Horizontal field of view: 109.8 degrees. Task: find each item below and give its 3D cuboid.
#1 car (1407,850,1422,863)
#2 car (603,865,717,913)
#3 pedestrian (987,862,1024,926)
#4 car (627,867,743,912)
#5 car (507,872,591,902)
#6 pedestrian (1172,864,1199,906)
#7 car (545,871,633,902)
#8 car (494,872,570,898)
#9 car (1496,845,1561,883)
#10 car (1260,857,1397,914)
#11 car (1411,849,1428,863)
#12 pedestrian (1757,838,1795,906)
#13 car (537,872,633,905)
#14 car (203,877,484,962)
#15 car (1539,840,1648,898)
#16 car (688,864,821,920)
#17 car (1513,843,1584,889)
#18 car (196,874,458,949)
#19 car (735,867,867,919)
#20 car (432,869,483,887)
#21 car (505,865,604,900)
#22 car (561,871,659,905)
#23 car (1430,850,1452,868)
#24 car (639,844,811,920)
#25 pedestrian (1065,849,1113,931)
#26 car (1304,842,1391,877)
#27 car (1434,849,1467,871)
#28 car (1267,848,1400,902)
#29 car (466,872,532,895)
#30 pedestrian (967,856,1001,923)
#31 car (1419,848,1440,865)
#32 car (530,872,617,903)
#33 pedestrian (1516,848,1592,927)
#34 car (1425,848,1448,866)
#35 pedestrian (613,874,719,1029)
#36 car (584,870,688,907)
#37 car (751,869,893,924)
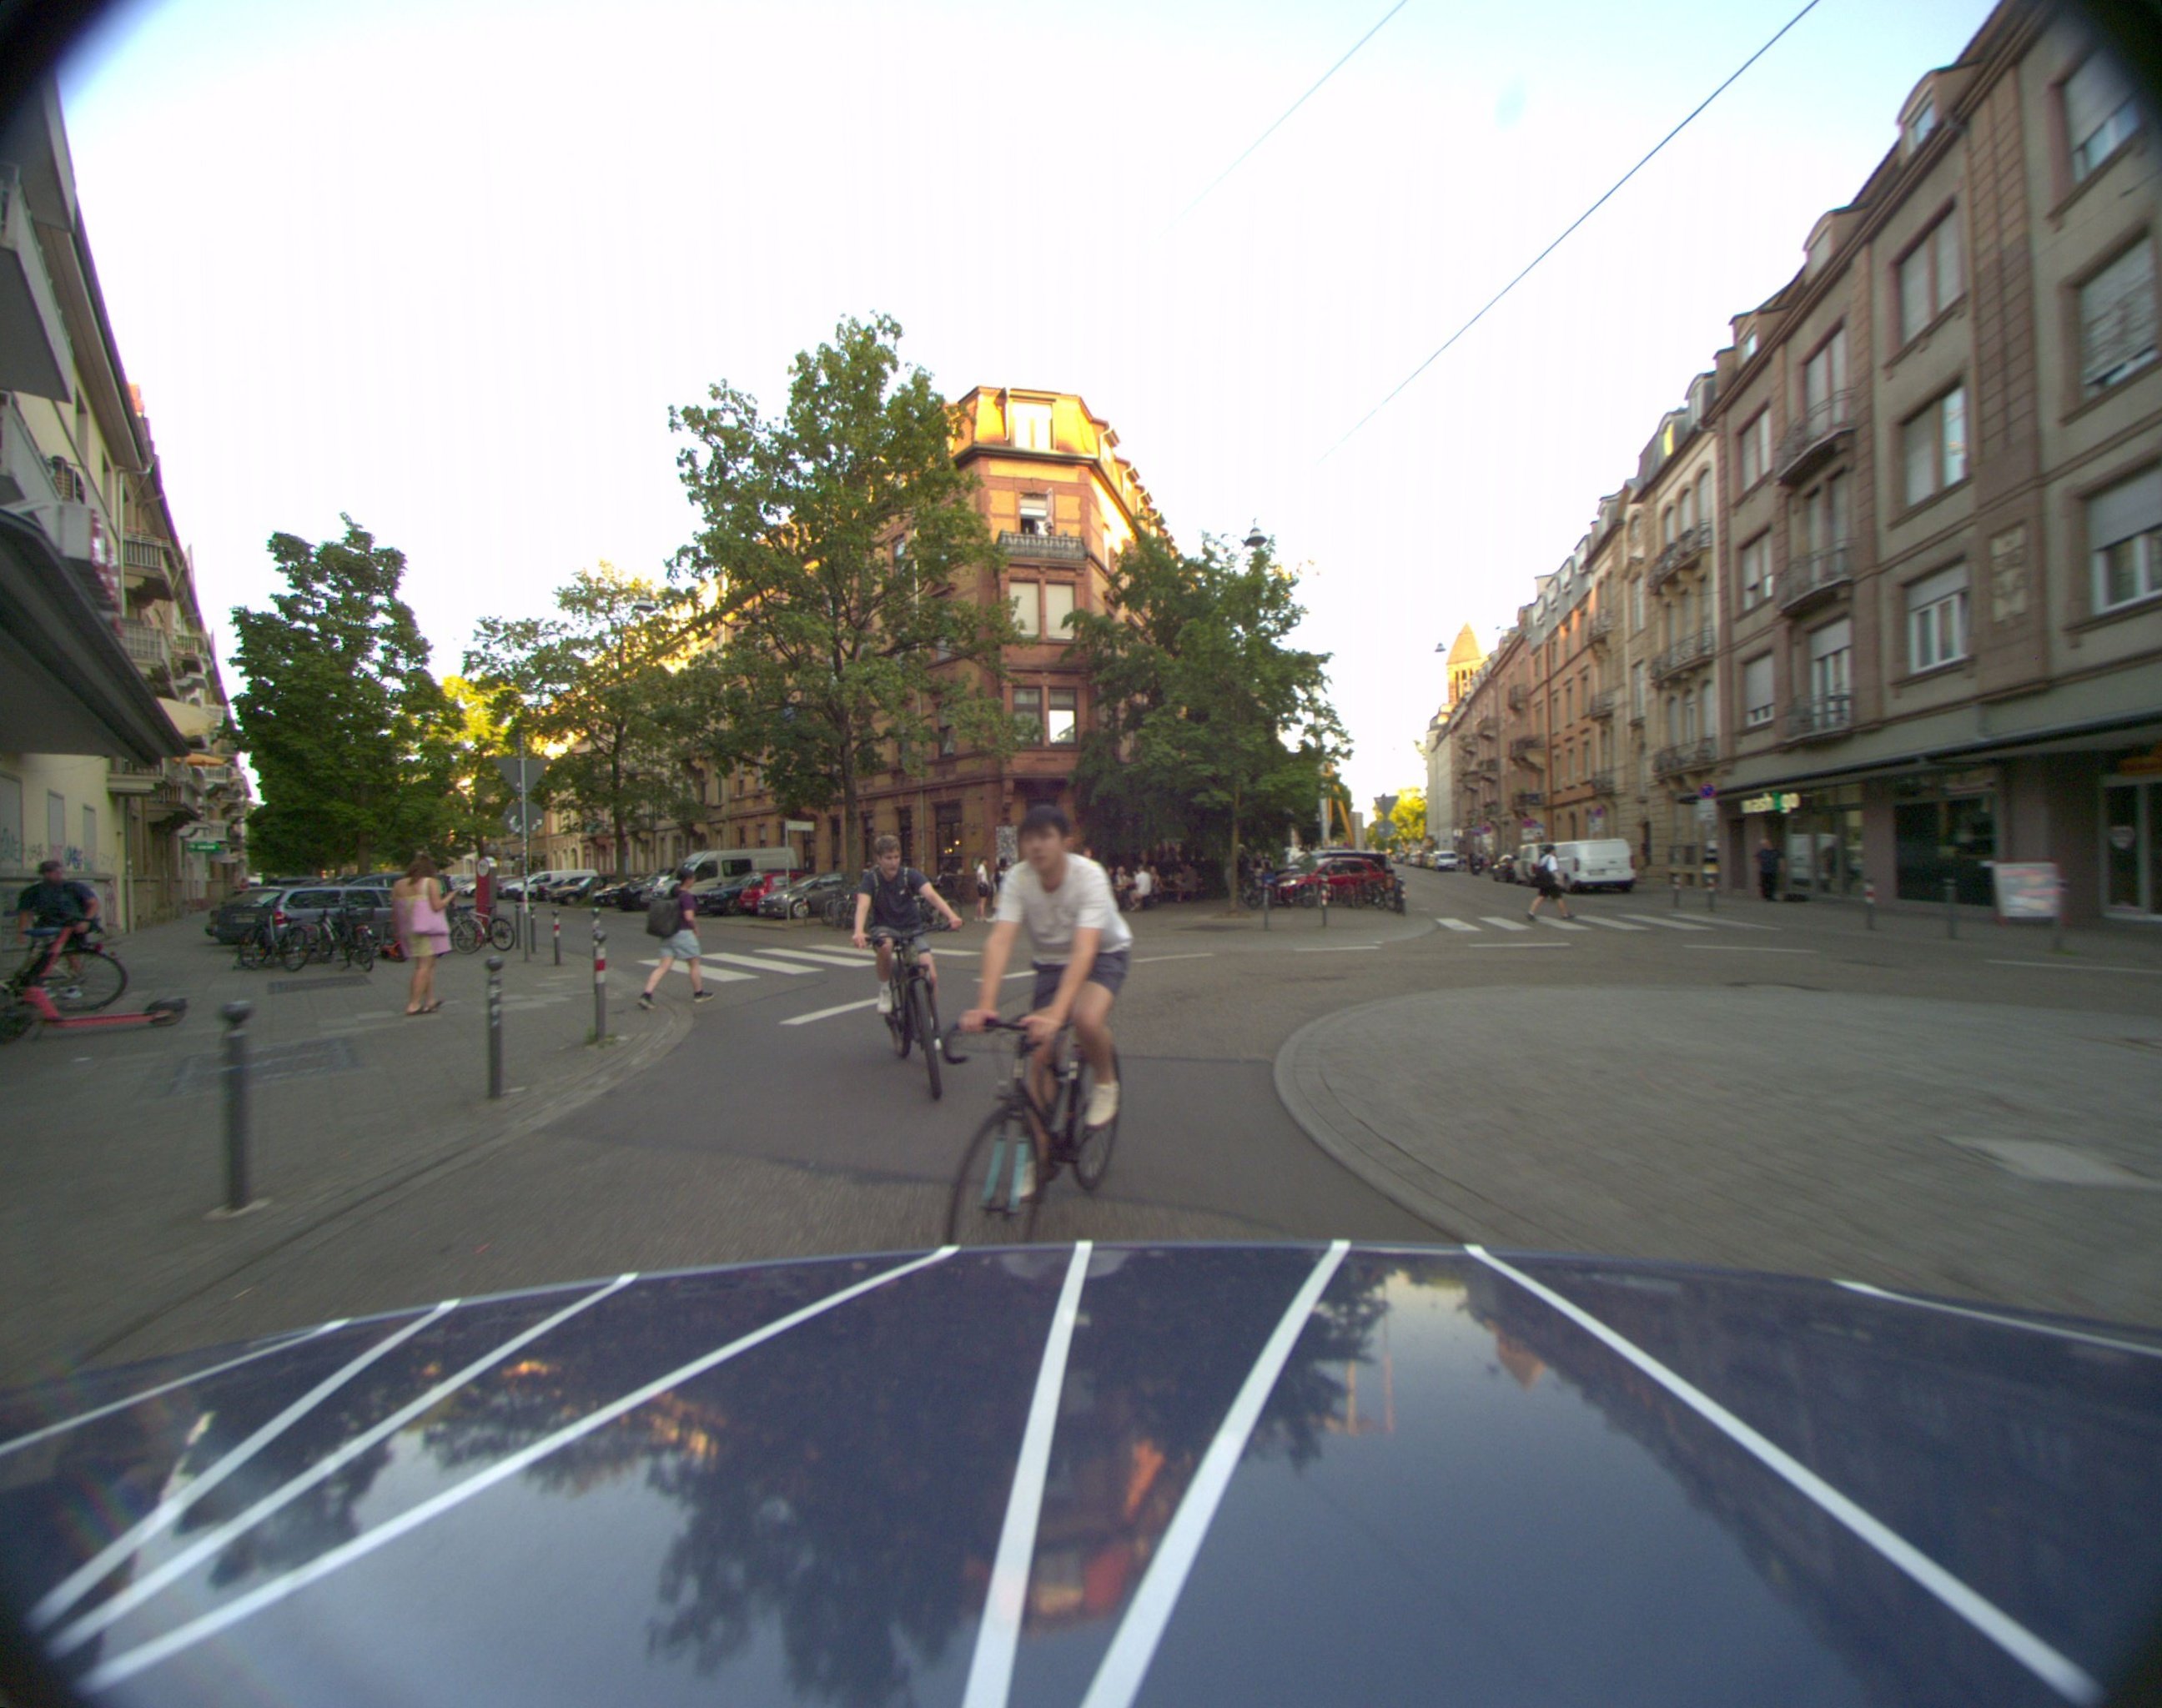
[{"bbox_3d":[46.108,0.327,105.089,1.905,1.728,3.855,-2,1,23],"label":"car"},{"bbox_3d":[-18.665,1.498,33.781,1.846,1.814,3.983,-1,1,44],"label":"car"},{"bbox_3d":[-1.970,1.029,19.852,0.641,1.628,0.673,-3,1,-34],"label":"pedestrian"},{"bbox_3d":[-17.024,1.482,32.789,1.759,1.653,3.983,-1,1,44],"label":"car"},{"bbox_3d":[-32.897,2.022,47.083,1.728,1.528,3.877,-2,1,39],"label":"car"},{"bbox_3d":[3.355,0.977,24.405,0.720,1.297,0.751,-1,0,0],"label":"pedestrian"},{"bbox_3d":[-28.465,1.872,44.041,1.728,1.528,3.877,-2,1,39],"label":"car"},{"bbox_3d":[-38.270,2.143,53.028,1.787,1.525,3.919,-2,1,41],"label":"car"},{"bbox_3d":[23.459,0.496,40.043,2.138,1.811,4.547,-2,0,20],"label":"car"},{"bbox_3d":[8.351,1.012,25.795,4.001,1.658,1.826,-3,1,-11],"label":"car"},{"bbox_3d":[44.365,0.274,99.605,1.865,1.728,3.805,-2,1,23],"label":"car"},{"bbox_3d":[18.687,0.487,20.445,0.654,1.768,0.693,-3,-1,38],"label":"pedestrian"},{"bbox_3d":[-27.180,1.844,41.729,1.846,1.528,3.983,-2,1,39],"label":"car"},{"bbox_3d":[-16.670,1.396,17.576,1.791,1.478,4.453,-2,1,7],"label":"car"},{"bbox_3d":[19.227,0.513,28.769,2.138,1.946,4.776,-2,0,18],"label":"car"},{"bbox_3d":[-11.768,1.306,27.553,1.759,1.653,3.983,-1,2,44],"label":"car"},{"bbox_3d":[21.117,0.508,34.485,1.876,1.892,4.332,-2,0,20],"label":"car"},{"bbox_3d":[-19.057,1.373,19.563,1.948,1.478,4.453,-2,1,7],"label":"car"},{"bbox_3d":[-9.730,1.321,26.602,1.623,1.494,3.983,-1,1,44],"label":"car"},{"bbox_3d":[-65.840,2.497,80.283,1.787,1.620,3.919,-2,1,41],"label":"car"},{"bbox_3d":[-34.386,1.818,49.736,2.196,2.000,4.858,-2,1,40],"label":"car"},{"bbox_3d":[-25.169,1.772,40.707,1.846,1.528,3.983,-2,1,39],"label":"car"},{"bbox_3d":[36.313,0.538,76.734,1.837,1.633,3.930,-2,1,23],"label":"car"},{"bbox_3d":[-13.602,0.983,29.379,2.115,2.443,5.498,-1,2,42],"label":"car"},{"bbox_3d":[0.196,0.823,17.793,0.673,1.858,0.912,-2,1,34],"label":"pedestrian"},{"bbox_3d":[18.437,0.377,52.797,5.145,2.182,2.337,-2,1,-5],"label":"car"},{"bbox_3d":[32.533,0.513,67.018,2.138,1.811,4.547,-2,0,20],"label":"car"},{"bbox_3d":[11.176,0.884,33.780,5.145,2.085,2.116,-2,1,-5],"label":"car"},{"bbox_3d":[-47.188,2.340,61.634,1.787,1.588,3.919,-2,1,41],"label":"car"},{"bbox_3d":[-2.582,0.945,20.304,0.674,1.735,0.641,-2,1,11],"label":"pedestrian"},{"bbox_3d":[39.160,0.282,85.408,1.995,1.728,4.006,-2,1,23],"label":"car"},{"bbox_3d":[-30.208,1.962,45.305,1.728,1.528,3.877,-2,1,39],"label":"car"},{"bbox_3d":[10.836,0.757,17.425,1.212,1.733,0.749,-2,0,-5],"label":"pedestrian"},{"bbox_3d":[37.660,0.330,80.592,1.995,1.728,4.006,-2,1,23],"label":"car"},{"bbox_3d":[-4.552,1.024,8.373,0.537,1.597,0.870,0,-1,31],"label":"pedestrian"},{"bbox_3d":[-21.984,1.674,37.623,1.846,1.528,3.983,-2,1,39],"label":"car"},{"bbox_3d":[-8.291,1.313,24.584,1.623,1.412,3.983,-1,1,44],"label":"car"}]
